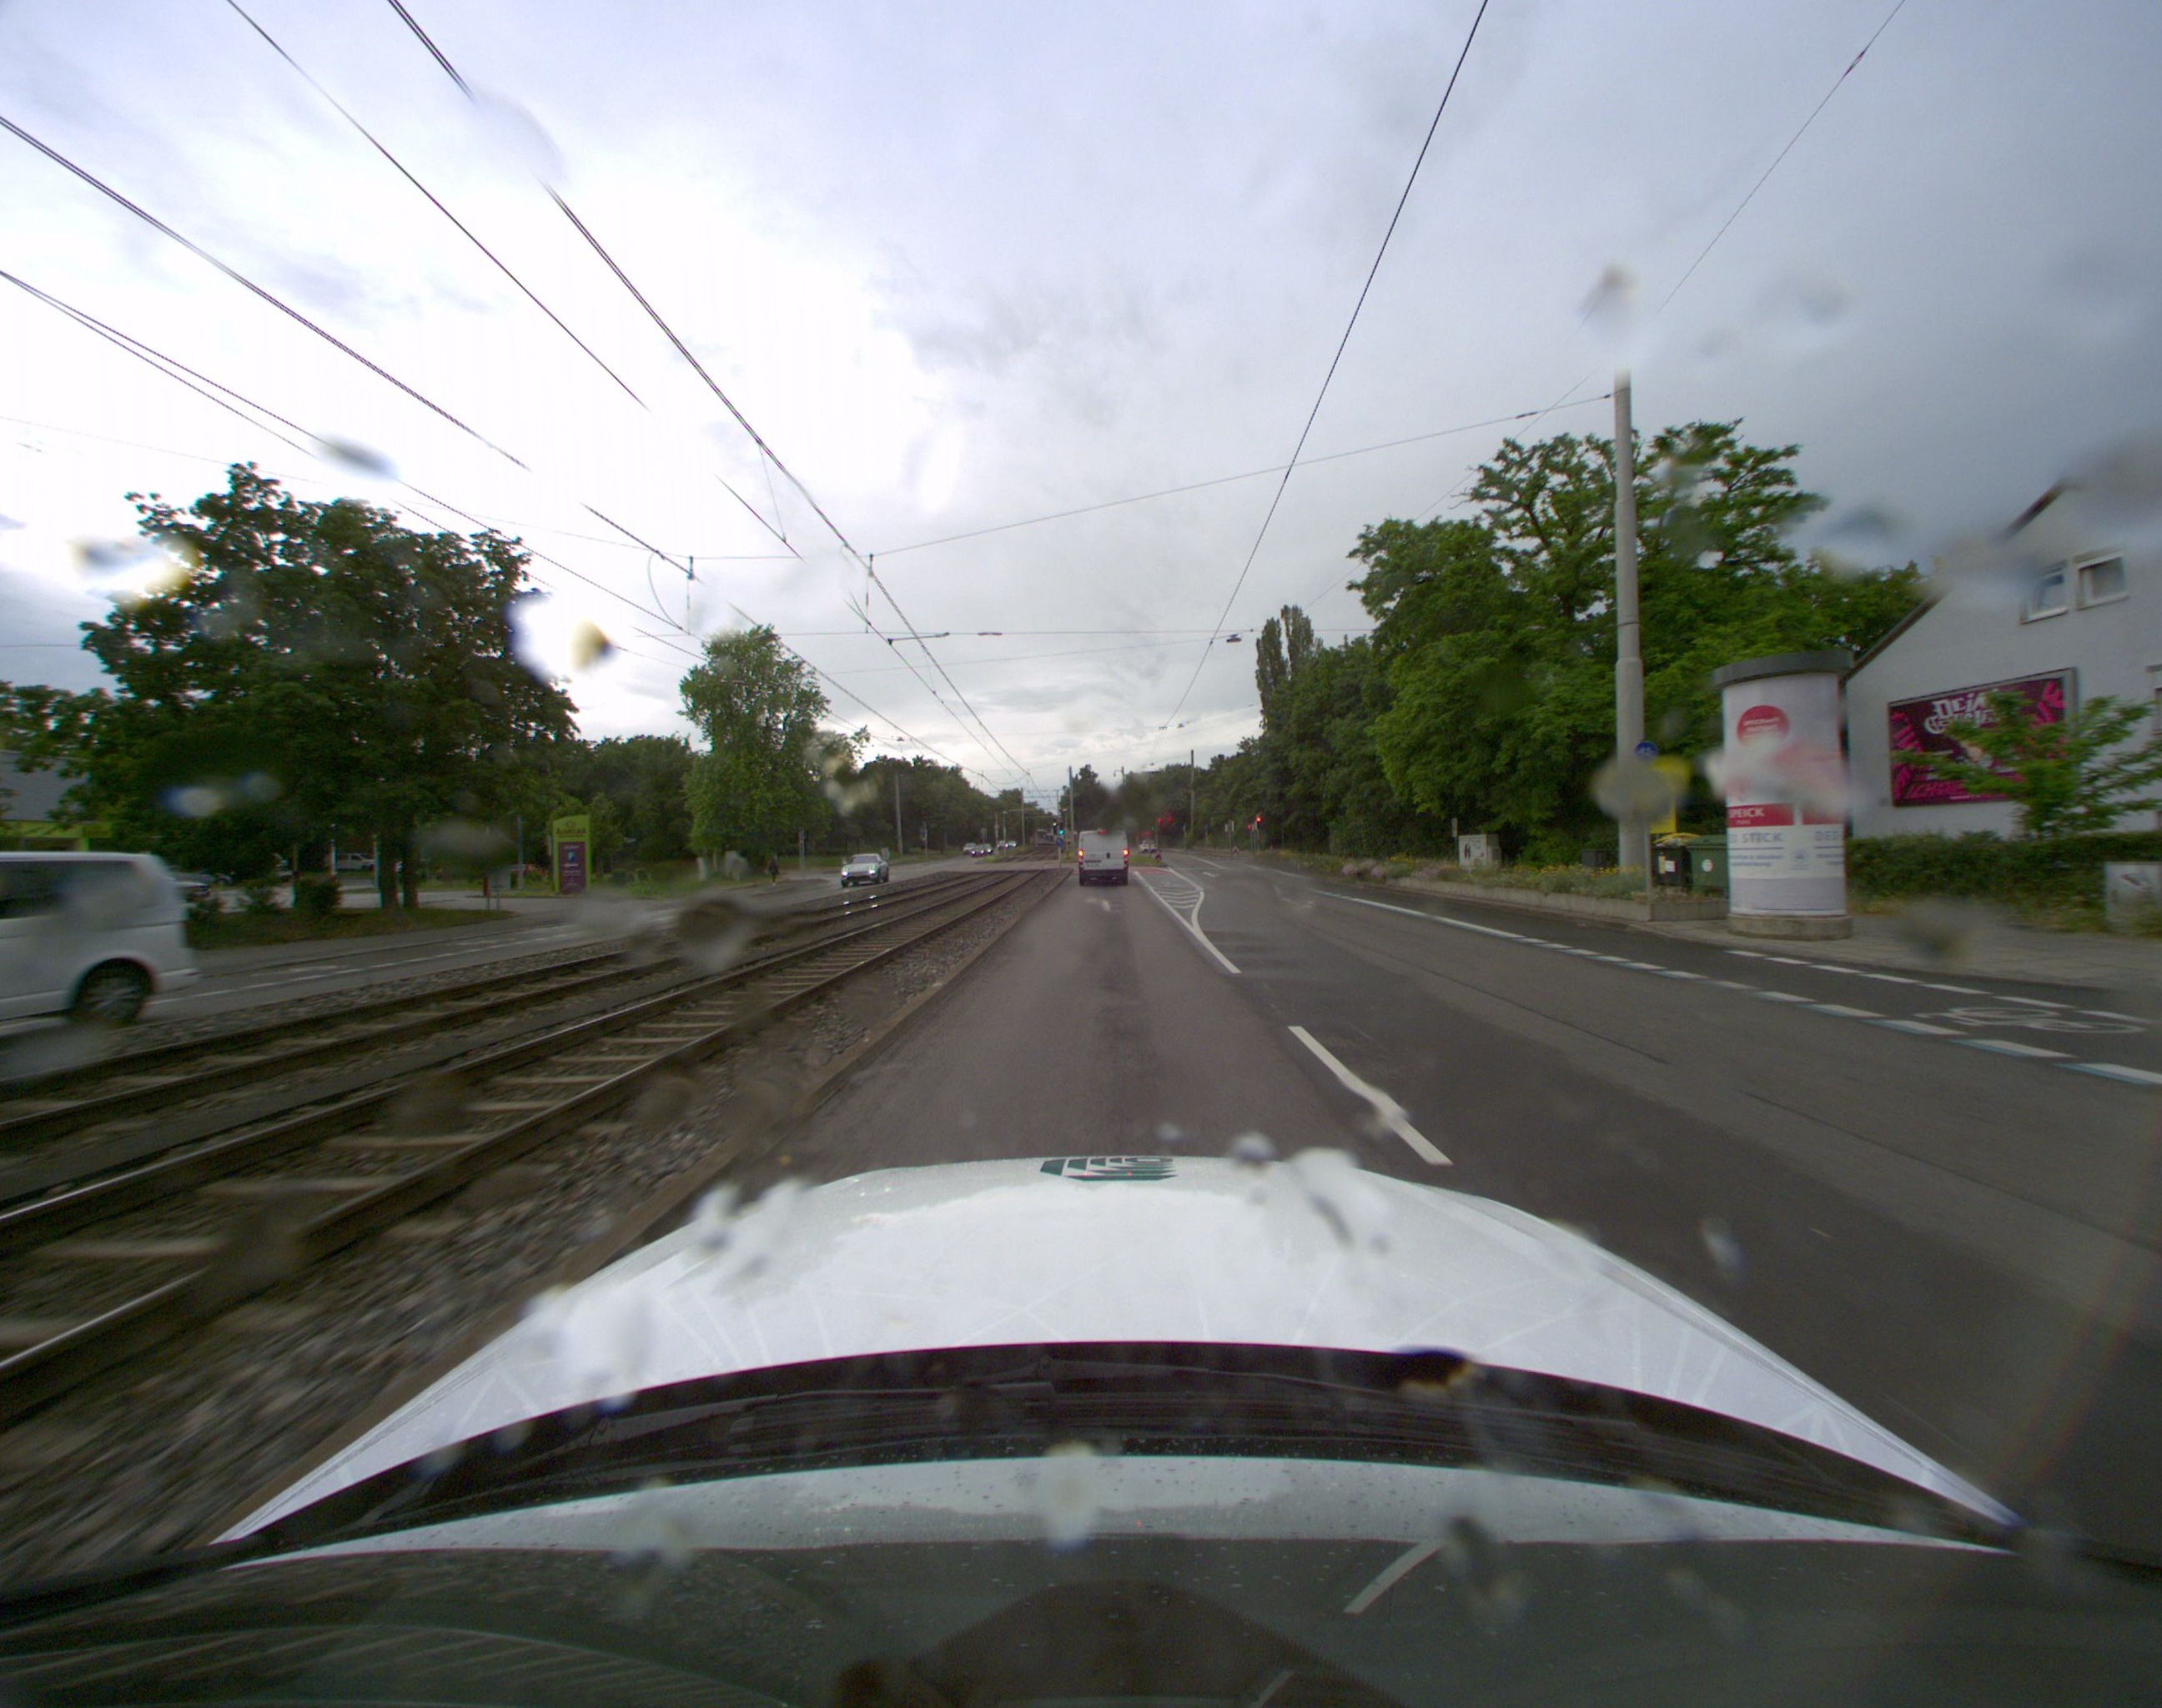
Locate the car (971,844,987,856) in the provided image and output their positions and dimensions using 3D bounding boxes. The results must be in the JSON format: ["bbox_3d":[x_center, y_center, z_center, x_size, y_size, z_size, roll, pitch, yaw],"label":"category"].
[{"bbox_3d":[-12.477,-0.498,99.850,1.596,1.401,3.790,0,2,-1],"label":"car"}]

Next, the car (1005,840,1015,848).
[{"bbox_3d":[-14.324,-2.033,164.385,1.596,1.401,3.790,0,2,-1],"label":"car"}]

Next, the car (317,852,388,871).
[{"bbox_3d":[-73.700,0.766,82.433,5.122,1.805,1.996,-1,-1,-5],"label":"car"}]

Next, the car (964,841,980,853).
[{"bbox_3d":[-15.753,-1.050,117.970,1.714,1.553,3.861,-4,2,-1],"label":"car"}]

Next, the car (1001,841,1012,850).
[{"bbox_3d":[-12.932,-1.443,140.744,1.596,1.401,3.790,0,2,-1],"label":"car"}]

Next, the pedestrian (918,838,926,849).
[{"bbox_3d":[-22.188,-1.467,113.707,1.012,1.600,1.038,-2,1,-6],"label":"pedestrian"}]

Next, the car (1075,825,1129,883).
[{"bbox_3d":[0.929,-0.018,35.433,2.138,2.283,5.064,-1,0,1],"label":"car"}]

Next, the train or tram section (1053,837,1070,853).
[{"bbox_3d":[-5.211,-2.306,218.417,4.046,3.894,15.038,0,-1,1],"label":"train or tram section"}]

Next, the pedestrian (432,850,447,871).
[{"bbox_3d":[-49.354,0.498,62.675,0.672,1.602,0.608,-1,-1,7],"label":"pedestrian"}]

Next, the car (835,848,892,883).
[{"bbox_3d":[-11.634,0.590,43.910,1.989,1.649,4.754,-4,1,-4],"label":"car"}]

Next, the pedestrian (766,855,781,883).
[{"bbox_3d":[-17.475,0.854,46.305,0.589,1.532,0.668,0,-1,0],"label":"pedestrian"}]

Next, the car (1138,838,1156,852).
[{"bbox_3d":[7.539,-1.054,93.286,1.697,1.521,3.792,0,2,0],"label":"car"}]

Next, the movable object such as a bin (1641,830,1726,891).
[{"bbox_3d":[14.430,0.154,19.559,1.181,1.418,1.134,0,-1,-1],"label":"movable object such as a bin"}]

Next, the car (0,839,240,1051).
[{"bbox_3d":[-11.316,0.938,7.383,1.987,2.013,5.059,-4,0,0],"label":"car"}]

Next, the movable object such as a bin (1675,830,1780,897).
[{"bbox_3d":[14.426,0.217,18.219,1.307,1.418,1.299,0,-1,-1],"label":"movable object such as a bin"}]
